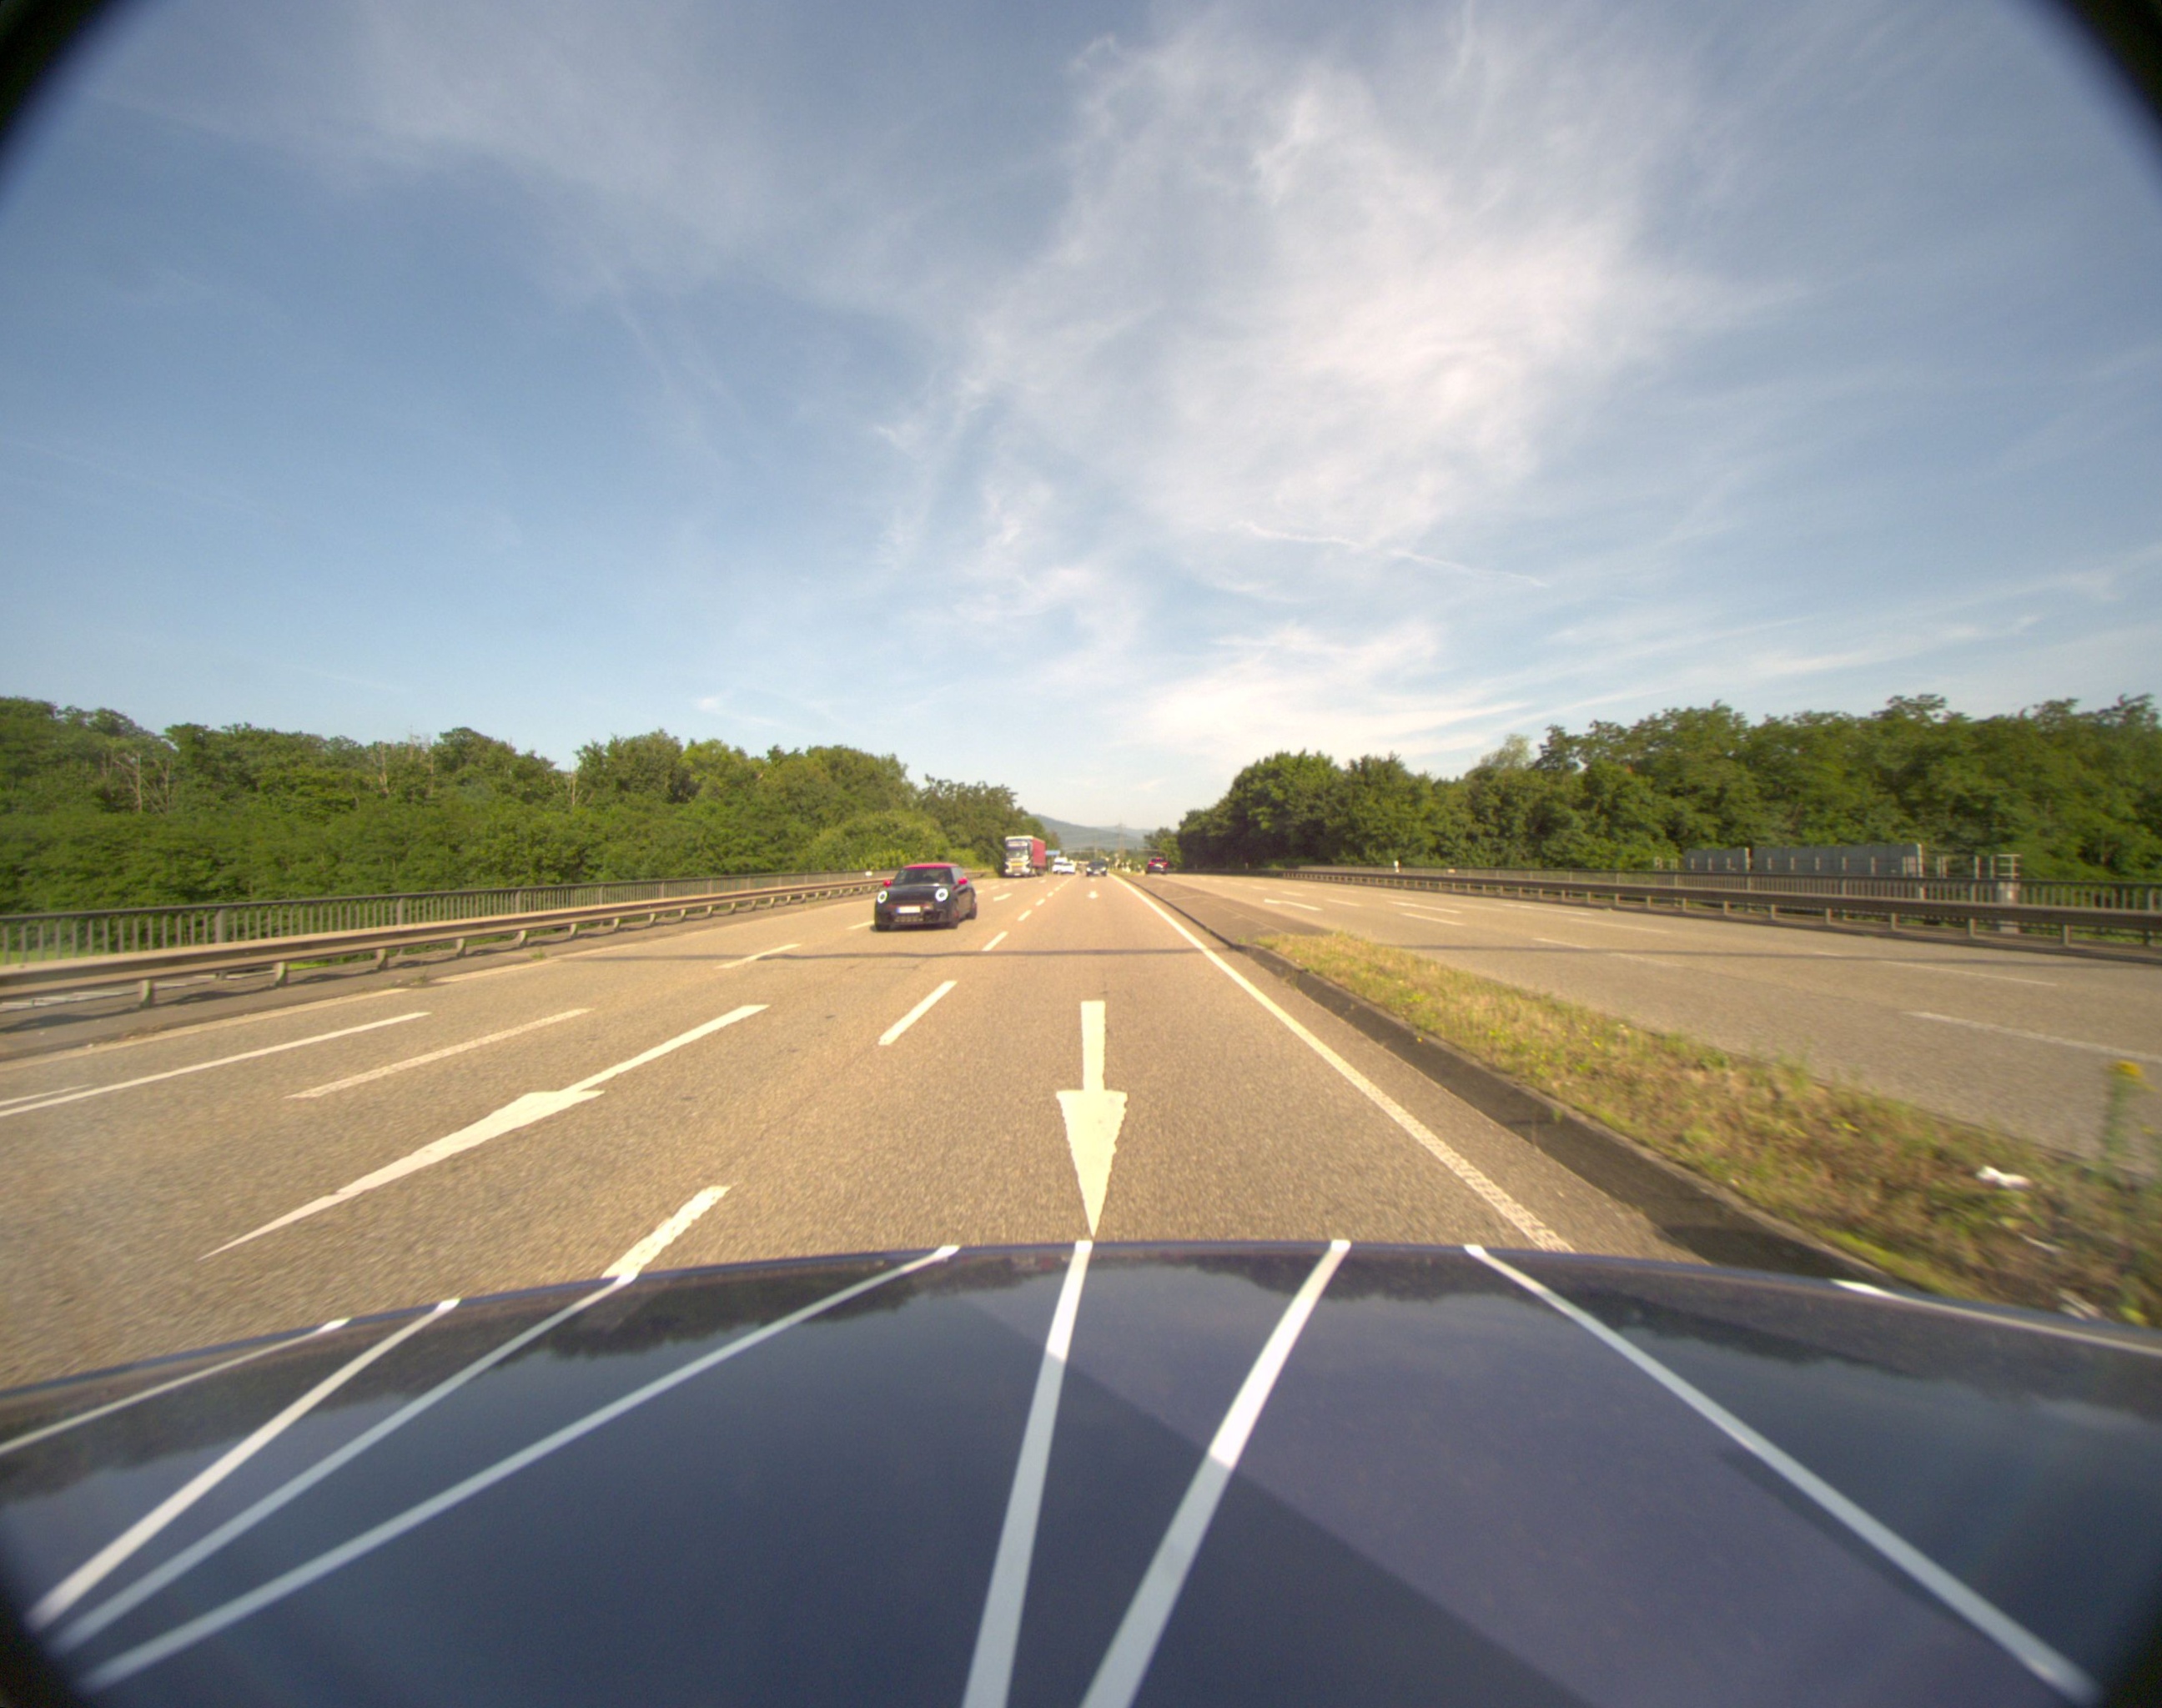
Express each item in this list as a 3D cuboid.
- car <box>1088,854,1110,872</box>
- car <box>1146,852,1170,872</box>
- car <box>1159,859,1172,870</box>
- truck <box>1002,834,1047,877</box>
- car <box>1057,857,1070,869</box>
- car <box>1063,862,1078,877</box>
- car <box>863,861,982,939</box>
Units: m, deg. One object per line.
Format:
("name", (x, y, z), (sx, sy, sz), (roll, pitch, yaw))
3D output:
("car", (1.647, 0.755, 68.653), (1.861, 1.453, 4.568), (-2, 1, 1))
("car", (7.830, 0.823, 77.576), (1.998, 1.818, 4.617), (-2, 1, 0))
("car", (15.781, 2.025, 142.224), (1.919, 1.818, 4.419), (-2, 1, 0))
("truck", (-5.689, -0.009, 79.007), (3.196, 3.996, 14.561), (-2, 1, 1))
("car", (-2.697, 1.375, 119.244), (1.875, 1.625, 4.833), (0, 1, 0))
("car", (-1.273, 1.942, 96.927), (1.875, 1.625, 4.833), (0, 1, 0))
("car", (-3.514, 0.964, 17.545), (1.824, 1.459, 3.872), (-2, 1, 1))
